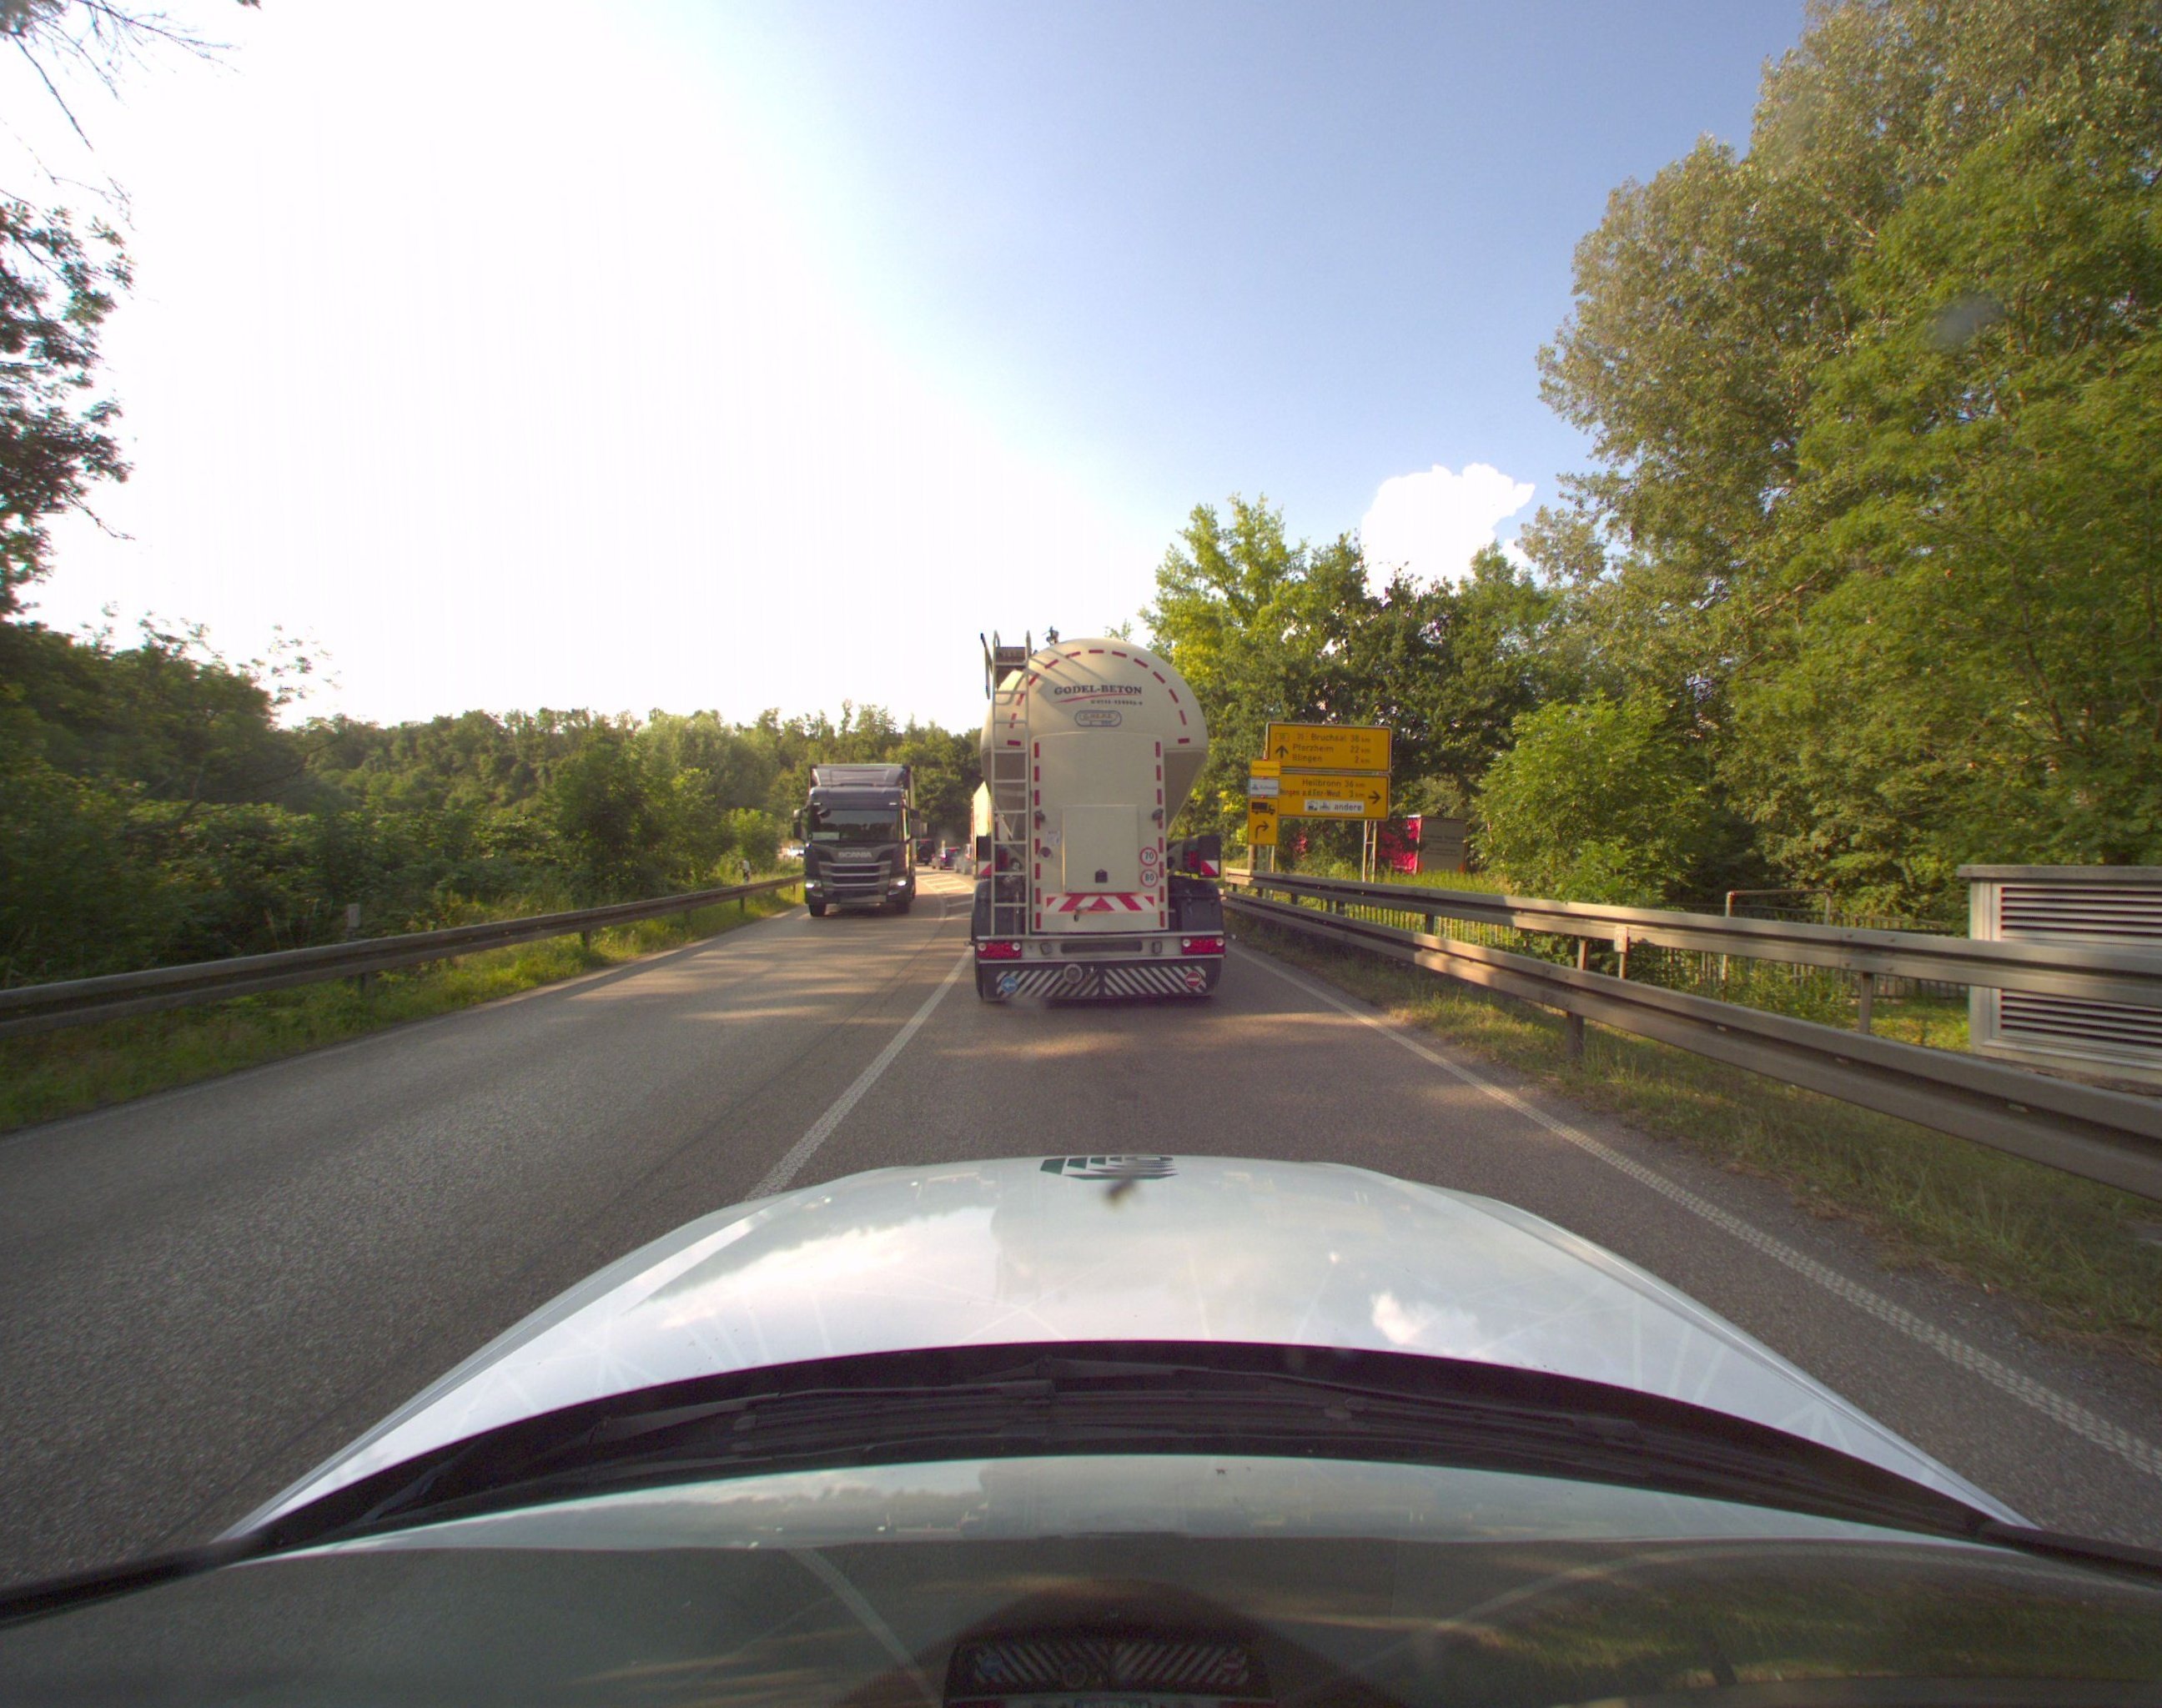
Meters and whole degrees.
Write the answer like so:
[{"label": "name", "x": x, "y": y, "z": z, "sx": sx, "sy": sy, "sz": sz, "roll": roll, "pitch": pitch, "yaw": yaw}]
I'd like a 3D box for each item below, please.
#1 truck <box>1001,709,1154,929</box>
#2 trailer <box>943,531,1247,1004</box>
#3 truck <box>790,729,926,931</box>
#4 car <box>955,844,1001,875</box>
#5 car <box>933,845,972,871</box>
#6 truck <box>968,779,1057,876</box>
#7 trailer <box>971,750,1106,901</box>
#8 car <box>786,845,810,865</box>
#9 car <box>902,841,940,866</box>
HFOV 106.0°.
[{"label": "truck", "x": -0.292, "y": -0.651, "z": 17.990, "sx": 2.819, "sy": 4.035, "sz": 5.884, "roll": 0, "pitch": 0, "yaw": -5}, {"label": "trailer", "x": -0.033, "y": -0.819, "z": 12.533, "sx": 2.879, "sy": 4.454, "sz": 9.597, "roll": 0, "pitch": 0, "yaw": -2}, {"label": "truck", "x": -6.215, "y": -0.531, "z": 23.854, "sx": 3.015, "sy": 4.585, "sz": 10.197, "roll": 0, "pitch": 0, "yaw": -12}, {"label": "car", "x": -5.912, "y": 0.280, "z": 46.248, "sx": 1.873, "sy": 1.628, "sz": 3.976, "roll": -2, "pitch": 1, "yaw": -18}, {"label": "car", "x": -8.587, "y": 0.252, "z": 54.175, "sx": 1.873, "sy": 1.564, "sz": 3.974, "roll": -2, "pitch": 1, "yaw": -19}, {"label": "truck", "x": -3.329, "y": -1.140, "z": 37.761, "sx": 3.451, "sy": 4.086, "sz": 6.467, "roll": 0, "pitch": 1, "yaw": -11}, {"label": "trailer", "x": -2.130, "y": -0.833, "z": 31.042, "sx": 3.546, "sy": 4.513, "sz": 12.938, "roll": 1, "pitch": 0, "yaw": -10}, {"label": "car", "x": -28.056, "y": 0.086, "z": 80.640, "sx": 1.877, "sy": 1.851, "sz": 3.967, "roll": 2, "pitch": 0, "yaw": -25}, {"label": "car", "x": -12.394, "y": -0.067, "z": 62.968, "sx": 1.966, "sy": 1.851, "sz": 3.968, "roll": -2, "pitch": 1, "yaw": -24}]
